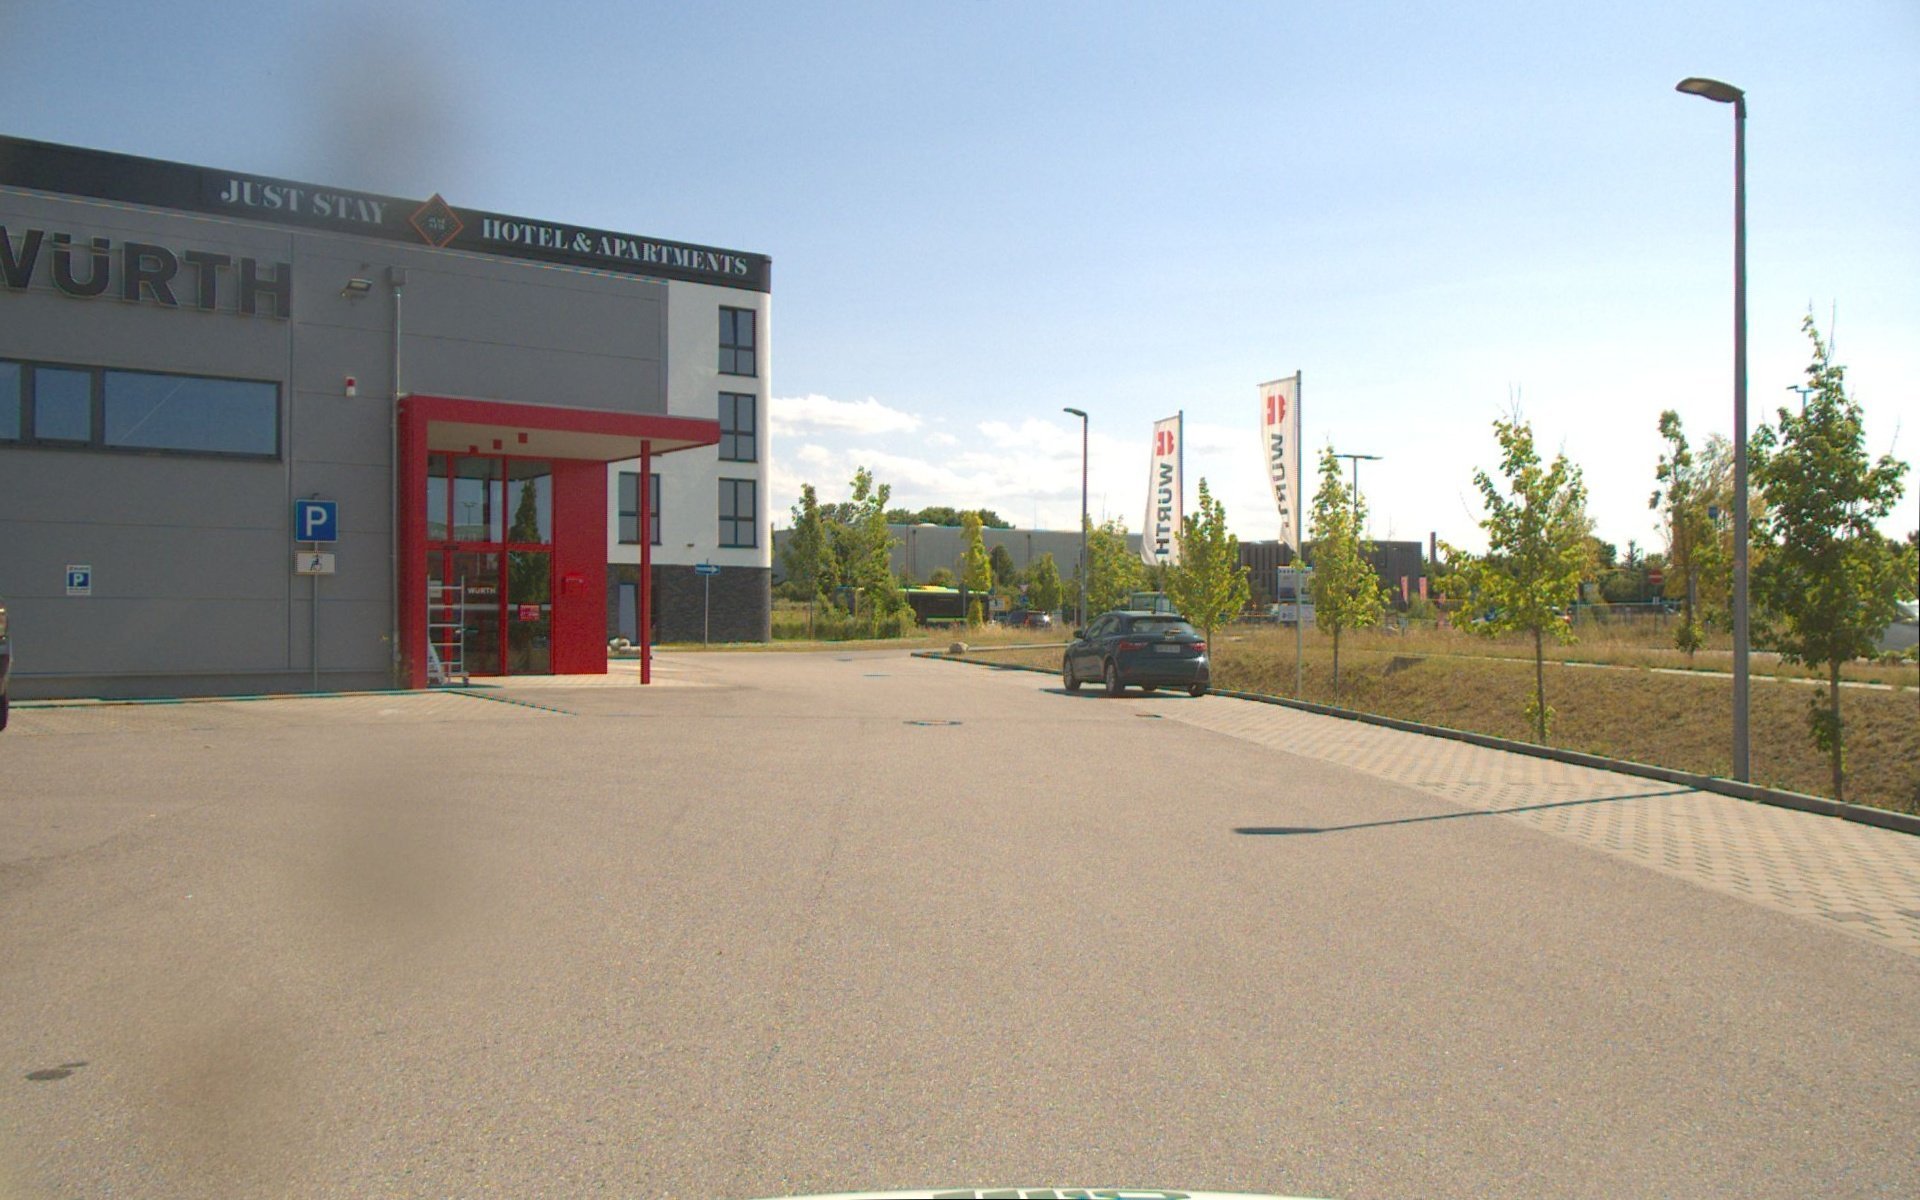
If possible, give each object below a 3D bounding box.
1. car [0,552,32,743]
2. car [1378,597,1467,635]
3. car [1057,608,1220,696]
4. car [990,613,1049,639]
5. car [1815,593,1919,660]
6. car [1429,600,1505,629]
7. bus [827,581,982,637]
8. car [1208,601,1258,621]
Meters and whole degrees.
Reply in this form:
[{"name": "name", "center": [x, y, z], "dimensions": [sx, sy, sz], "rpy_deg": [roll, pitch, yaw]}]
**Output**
[{"name": "car", "center": [-11.676, 0.453, 17.988], "dimensions": [2.057, 1.913, 4.812], "rpy_deg": [0, 0, -38]}, {"name": "car", "center": [20.442, 0.699, 73.138], "dimensions": [3.611, 1.626, 1.700], "rpy_deg": [0, 0, -27]}, {"name": "car", "center": [3.056, 0.862, 29.131], "dimensions": [1.669, 1.431, 3.883], "rpy_deg": [1, 0, -13]}, {"name": "car", "center": [3.388, 1.449, 94.839], "dimensions": [1.633, 1.410, 3.470], "rpy_deg": [0, 0, -34]}, {"name": "car", "center": [22.291, 0.604, 38.681], "dimensions": [1.843, 1.509, 3.981], "rpy_deg": [0, 0, -17]}, {"name": "car", "center": [24.868, 0.699, 81.052], "dimensions": [3.667, 1.420, 1.573], "rpy_deg": [0, 0, -32]}, {"name": "bus", "center": [-3.633, 0.585, 111.293], "dimensions": [11.138, 3.619, 2.540], "rpy_deg": [0, 0, -39]}, {"name": "car", "center": [22.951, 0.899, 139.038], "dimensions": [3.912, 1.687, 1.883], "rpy_deg": [0, 0, -35]}]
